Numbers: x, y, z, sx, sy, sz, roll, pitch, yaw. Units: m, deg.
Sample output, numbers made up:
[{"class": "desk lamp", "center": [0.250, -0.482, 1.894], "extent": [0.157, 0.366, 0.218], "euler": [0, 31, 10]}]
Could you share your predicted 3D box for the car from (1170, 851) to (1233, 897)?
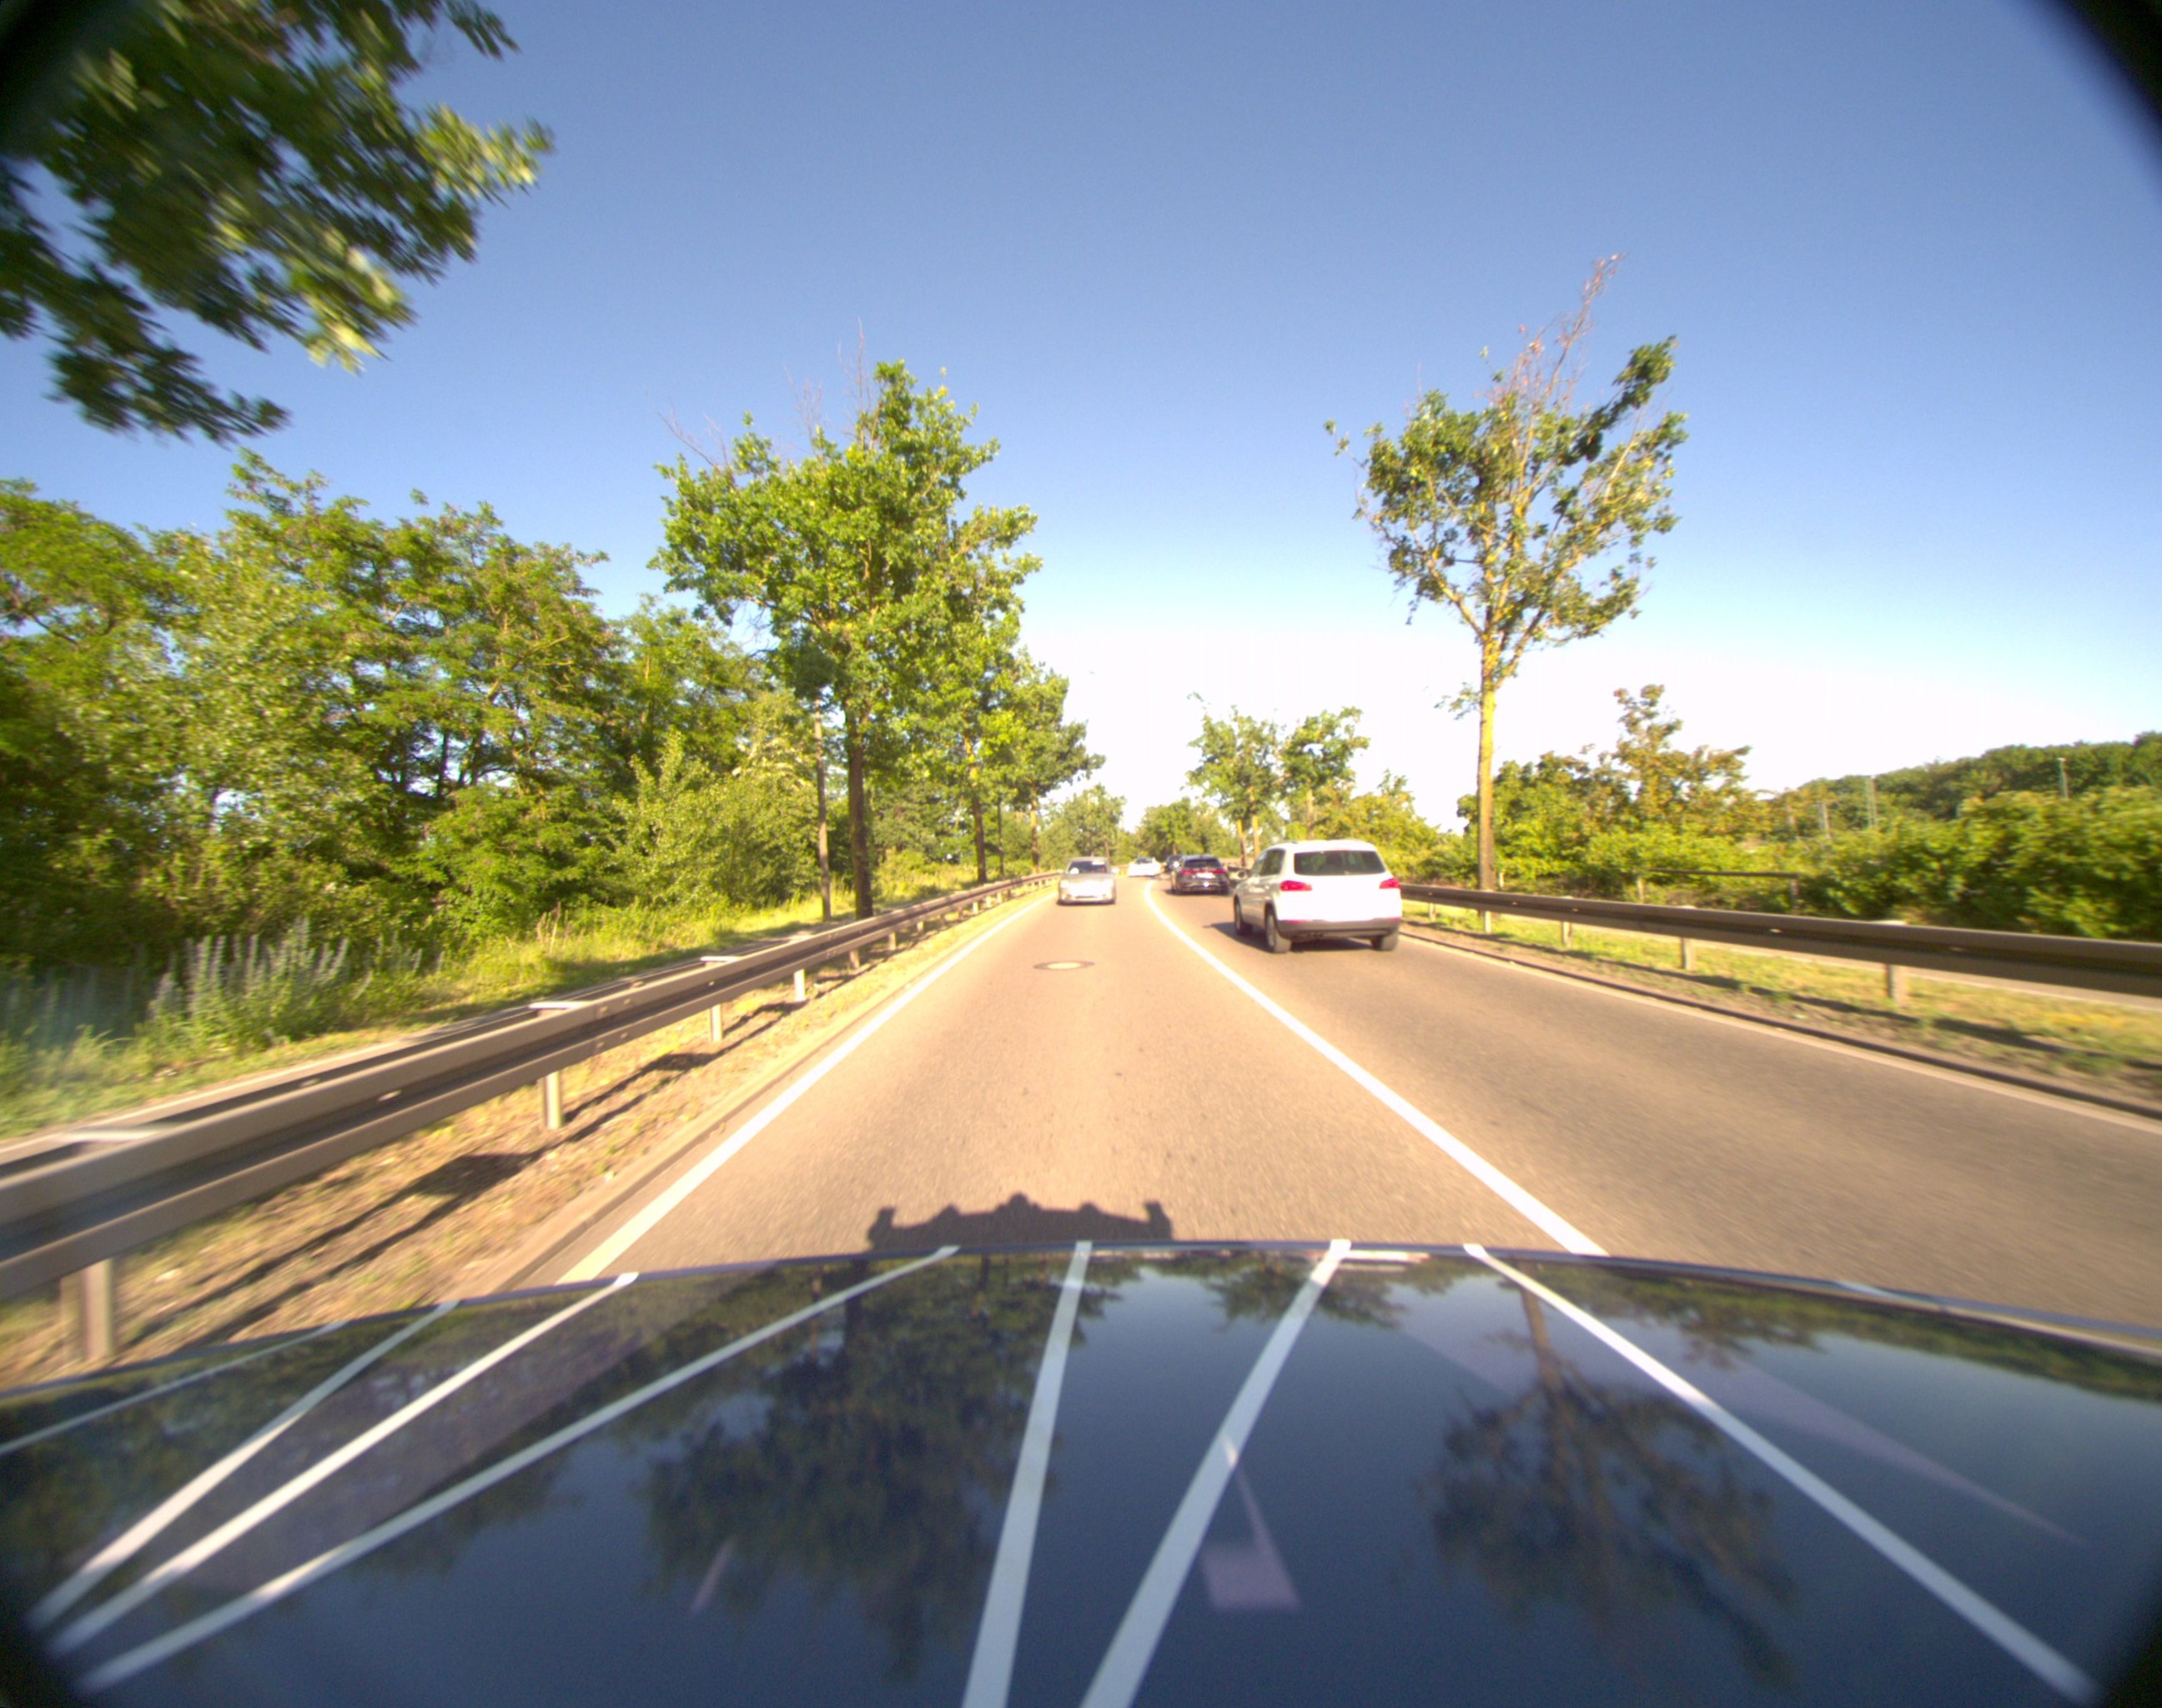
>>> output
[{"class": "car", "center": [4.364, 0.668, 28.165], "extent": [1.853, 1.483, 4.717], "euler": [-2, 0, 4]}]

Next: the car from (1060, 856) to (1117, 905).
[{"class": "car", "center": [0.325, 0.825, 25.389], "extent": [1.682, 1.433, 3.859], "euler": [-2, 0, 3]}]

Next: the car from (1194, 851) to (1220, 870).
[{"class": "car", "center": [10.538, 0.527, 63.381], "extent": [1.811, 1.545, 4.145], "euler": [0, 0, 15]}]

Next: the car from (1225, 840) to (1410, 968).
[{"class": "car", "center": [3.554, 0.668, 12.205], "extent": [1.733, 1.648, 3.982], "euler": [-2, 0, 1]}]

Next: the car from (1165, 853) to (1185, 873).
[{"class": "car", "center": [8.598, 0.842, 69.395], "extent": [1.682, 1.694, 3.607], "euler": [-2, 0, 8]}]

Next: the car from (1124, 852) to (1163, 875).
[{"class": "car", "center": [4.689, 0.700, 56.154], "extent": [2.147, 1.558, 4.202], "euler": [-1, 0, 15]}]
